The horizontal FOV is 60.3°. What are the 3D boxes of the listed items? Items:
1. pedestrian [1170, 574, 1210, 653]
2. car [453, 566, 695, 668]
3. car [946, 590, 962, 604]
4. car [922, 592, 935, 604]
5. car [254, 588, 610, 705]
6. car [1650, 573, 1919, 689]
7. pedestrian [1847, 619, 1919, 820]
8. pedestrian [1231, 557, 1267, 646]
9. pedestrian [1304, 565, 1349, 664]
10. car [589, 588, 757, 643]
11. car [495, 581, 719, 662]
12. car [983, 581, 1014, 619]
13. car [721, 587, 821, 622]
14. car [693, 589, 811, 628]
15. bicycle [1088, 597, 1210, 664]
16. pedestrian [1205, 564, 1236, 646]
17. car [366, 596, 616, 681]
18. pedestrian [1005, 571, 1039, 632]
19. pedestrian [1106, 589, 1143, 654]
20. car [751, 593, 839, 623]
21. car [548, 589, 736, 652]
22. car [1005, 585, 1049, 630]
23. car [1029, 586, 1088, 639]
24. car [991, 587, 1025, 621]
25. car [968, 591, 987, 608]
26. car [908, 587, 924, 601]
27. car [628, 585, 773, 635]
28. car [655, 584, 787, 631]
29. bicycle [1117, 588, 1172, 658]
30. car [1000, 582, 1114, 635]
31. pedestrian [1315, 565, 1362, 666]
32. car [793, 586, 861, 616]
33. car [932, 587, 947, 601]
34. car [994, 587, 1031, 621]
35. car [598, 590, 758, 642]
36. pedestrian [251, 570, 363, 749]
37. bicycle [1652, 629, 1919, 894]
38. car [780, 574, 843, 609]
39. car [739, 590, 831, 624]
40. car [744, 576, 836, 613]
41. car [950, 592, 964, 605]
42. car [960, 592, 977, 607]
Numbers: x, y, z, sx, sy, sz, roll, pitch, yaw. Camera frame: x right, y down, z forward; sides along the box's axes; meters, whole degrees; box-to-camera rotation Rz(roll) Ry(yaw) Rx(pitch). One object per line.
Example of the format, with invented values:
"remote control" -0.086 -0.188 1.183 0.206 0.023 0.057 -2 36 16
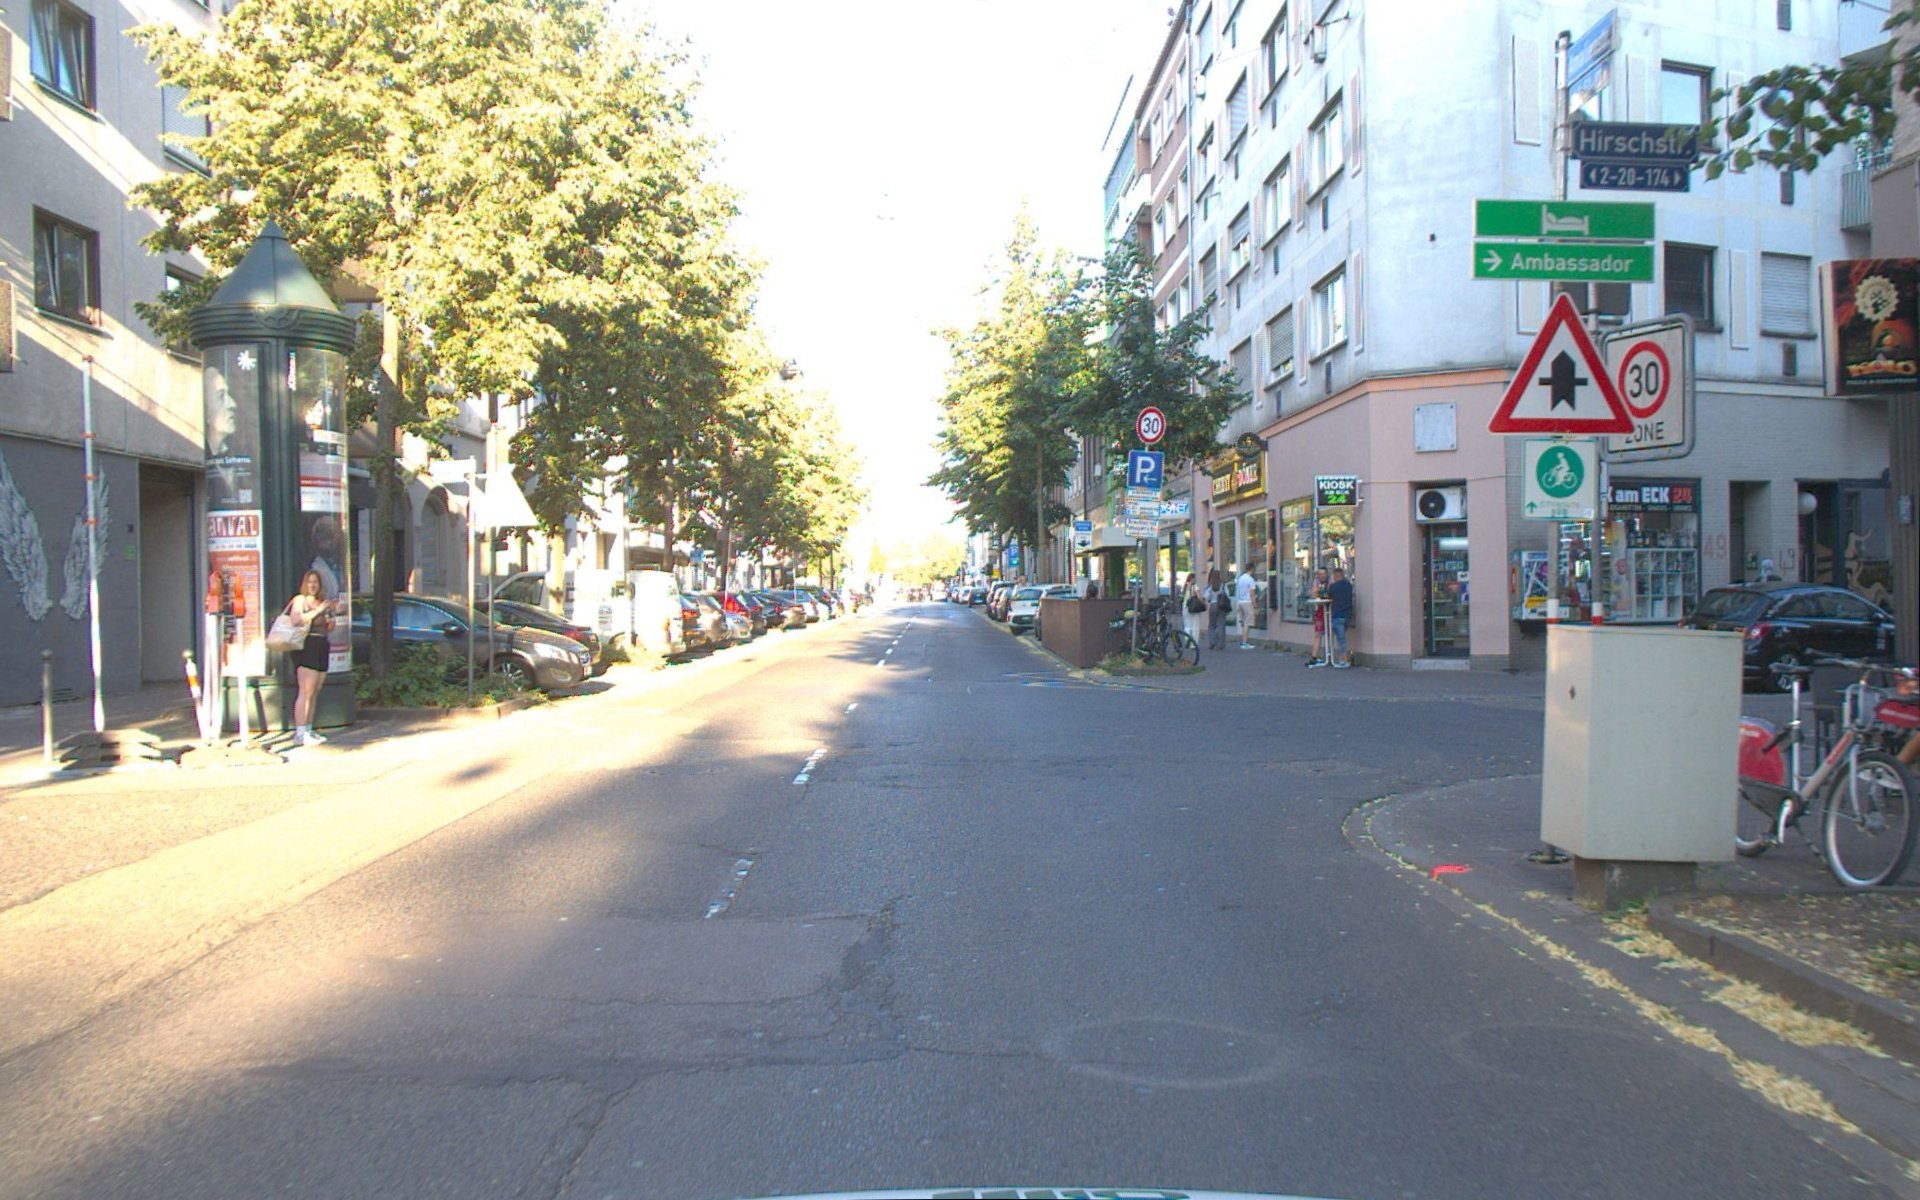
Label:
"pedestrian" 4.920 0.281 35.370 0.779 1.654 0.913 -1 0 11
"car" -7.798 0.335 33.763 4.479 1.996 1.990 0 0 -1
"car" -0.691 -0.311 184.176 1.716 1.567 3.303 -1 0 0
"car" -4.051 -0.236 212.250 1.538 1.532 3.303 -1 0 0
"car" -7.364 0.629 23.383 4.455 1.568 1.810 0 0 -2
"car" 12.037 0.397 24.013 3.617 1.514 1.775 -1 2 -26
"pedestrian" 5.918 0.691 9.674 0.668 1.161 1.360 -2 -1 -1
"pedestrian" 6.039 0.022 34.582 0.683 1.836 0.892 -1 0 7
"pedestrian" 6.151 0.232 27.761 0.555 1.627 0.663 -2 1 -1
"car" -7.943 0.418 46.083 4.351 1.510 1.809 0 0 -1
"car" -7.720 0.452 36.502 4.478 1.727 2.060 0 0 -1
"car" 1.931 0.003 84.343 1.482 1.897 4.235 0 0 0
"car" -8.601 0.194 75.517 4.351 1.549 1.919 0 0 -1
"car" -8.092 0.332 64.609 4.351 1.474 1.919 0 0 -1
"bicycle" 3.160 0.508 27.775 1.918 1.092 0.704 0 0 31
"pedestrian" 5.529 0.093 35.065 0.617 1.709 0.892 -1 0 10
"car" -8.077 0.663 28.755 3.712 1.416 2.044 0 -1 2
"pedestrian" 2.033 0.055 54.097 0.900 1.959 1.015 1 0 -11
"pedestrian" 3.569 0.459 35.975 0.711 1.402 0.781 -1 0 -1
"car" -8.451 0.402 85.097 4.351 1.525 1.919 0 0 -1
"car" -7.932 0.498 41.514 4.351 1.532 1.844 0 0 -1
"car" 2.434 0.270 60.591 1.482 1.605 3.218 0 0 0
"car" 2.803 0.348 47.503 1.511 1.458 3.678 0 0 1
"car" 2.251 0.188 78.048 1.482 1.589 3.513 0 0 0
"car" 1.357 -0.018 131.997 1.482 1.298 3.303 0 0 0
"car" -5.154 -0.657 192.227 1.716 1.567 3.303 -1 0 0
"car" -8.334 0.310 53.369 4.351 1.595 1.919 0 0 -1
"car" -8.345 0.262 58.083 4.351 1.595 1.919 0 0 -1
"bicycle" 3.278 0.386 29.238 0.585 1.198 1.847 -1 0 18
"car" 3.097 0.242 52.497 1.645 1.616 3.801 0 0 41
"pedestrian" 6.173 0.246 26.996 0.555 1.611 0.663 -2 1 -1
"car" -8.764 0.067 109.474 4.351 1.994 1.919 0 0 -1
"car" -2.391 -0.711 194.969 1.685 1.501 3.303 -1 0 0
"car" 2.277 0.185 72.665 1.482 1.430 3.837 0 0 0
"car" -8.193 0.466 48.384 4.351 1.484 1.859 0 0 -1
"pedestrian" -6.452 0.573 16.369 0.695 1.716 0.834 -1 0 8
"bicycle" 4.305 0.739 8.353 0.762 1.131 1.899 -2 0 -1
"car" -10.707 -0.589 119.386 4.351 2.477 1.919 0 0 -1
"car" -8.428 0.344 79.875 4.216 1.626 1.919 0 0 -1
"car" -8.385 -0.269 81.981 4.351 1.790 1.919 0 0 -1
"car" -0.318 -0.133 172.943 1.482 1.321 3.303 0 0 0
"car" 0.773 -0.021 150.104 1.482 1.285 3.303 0 0 0
